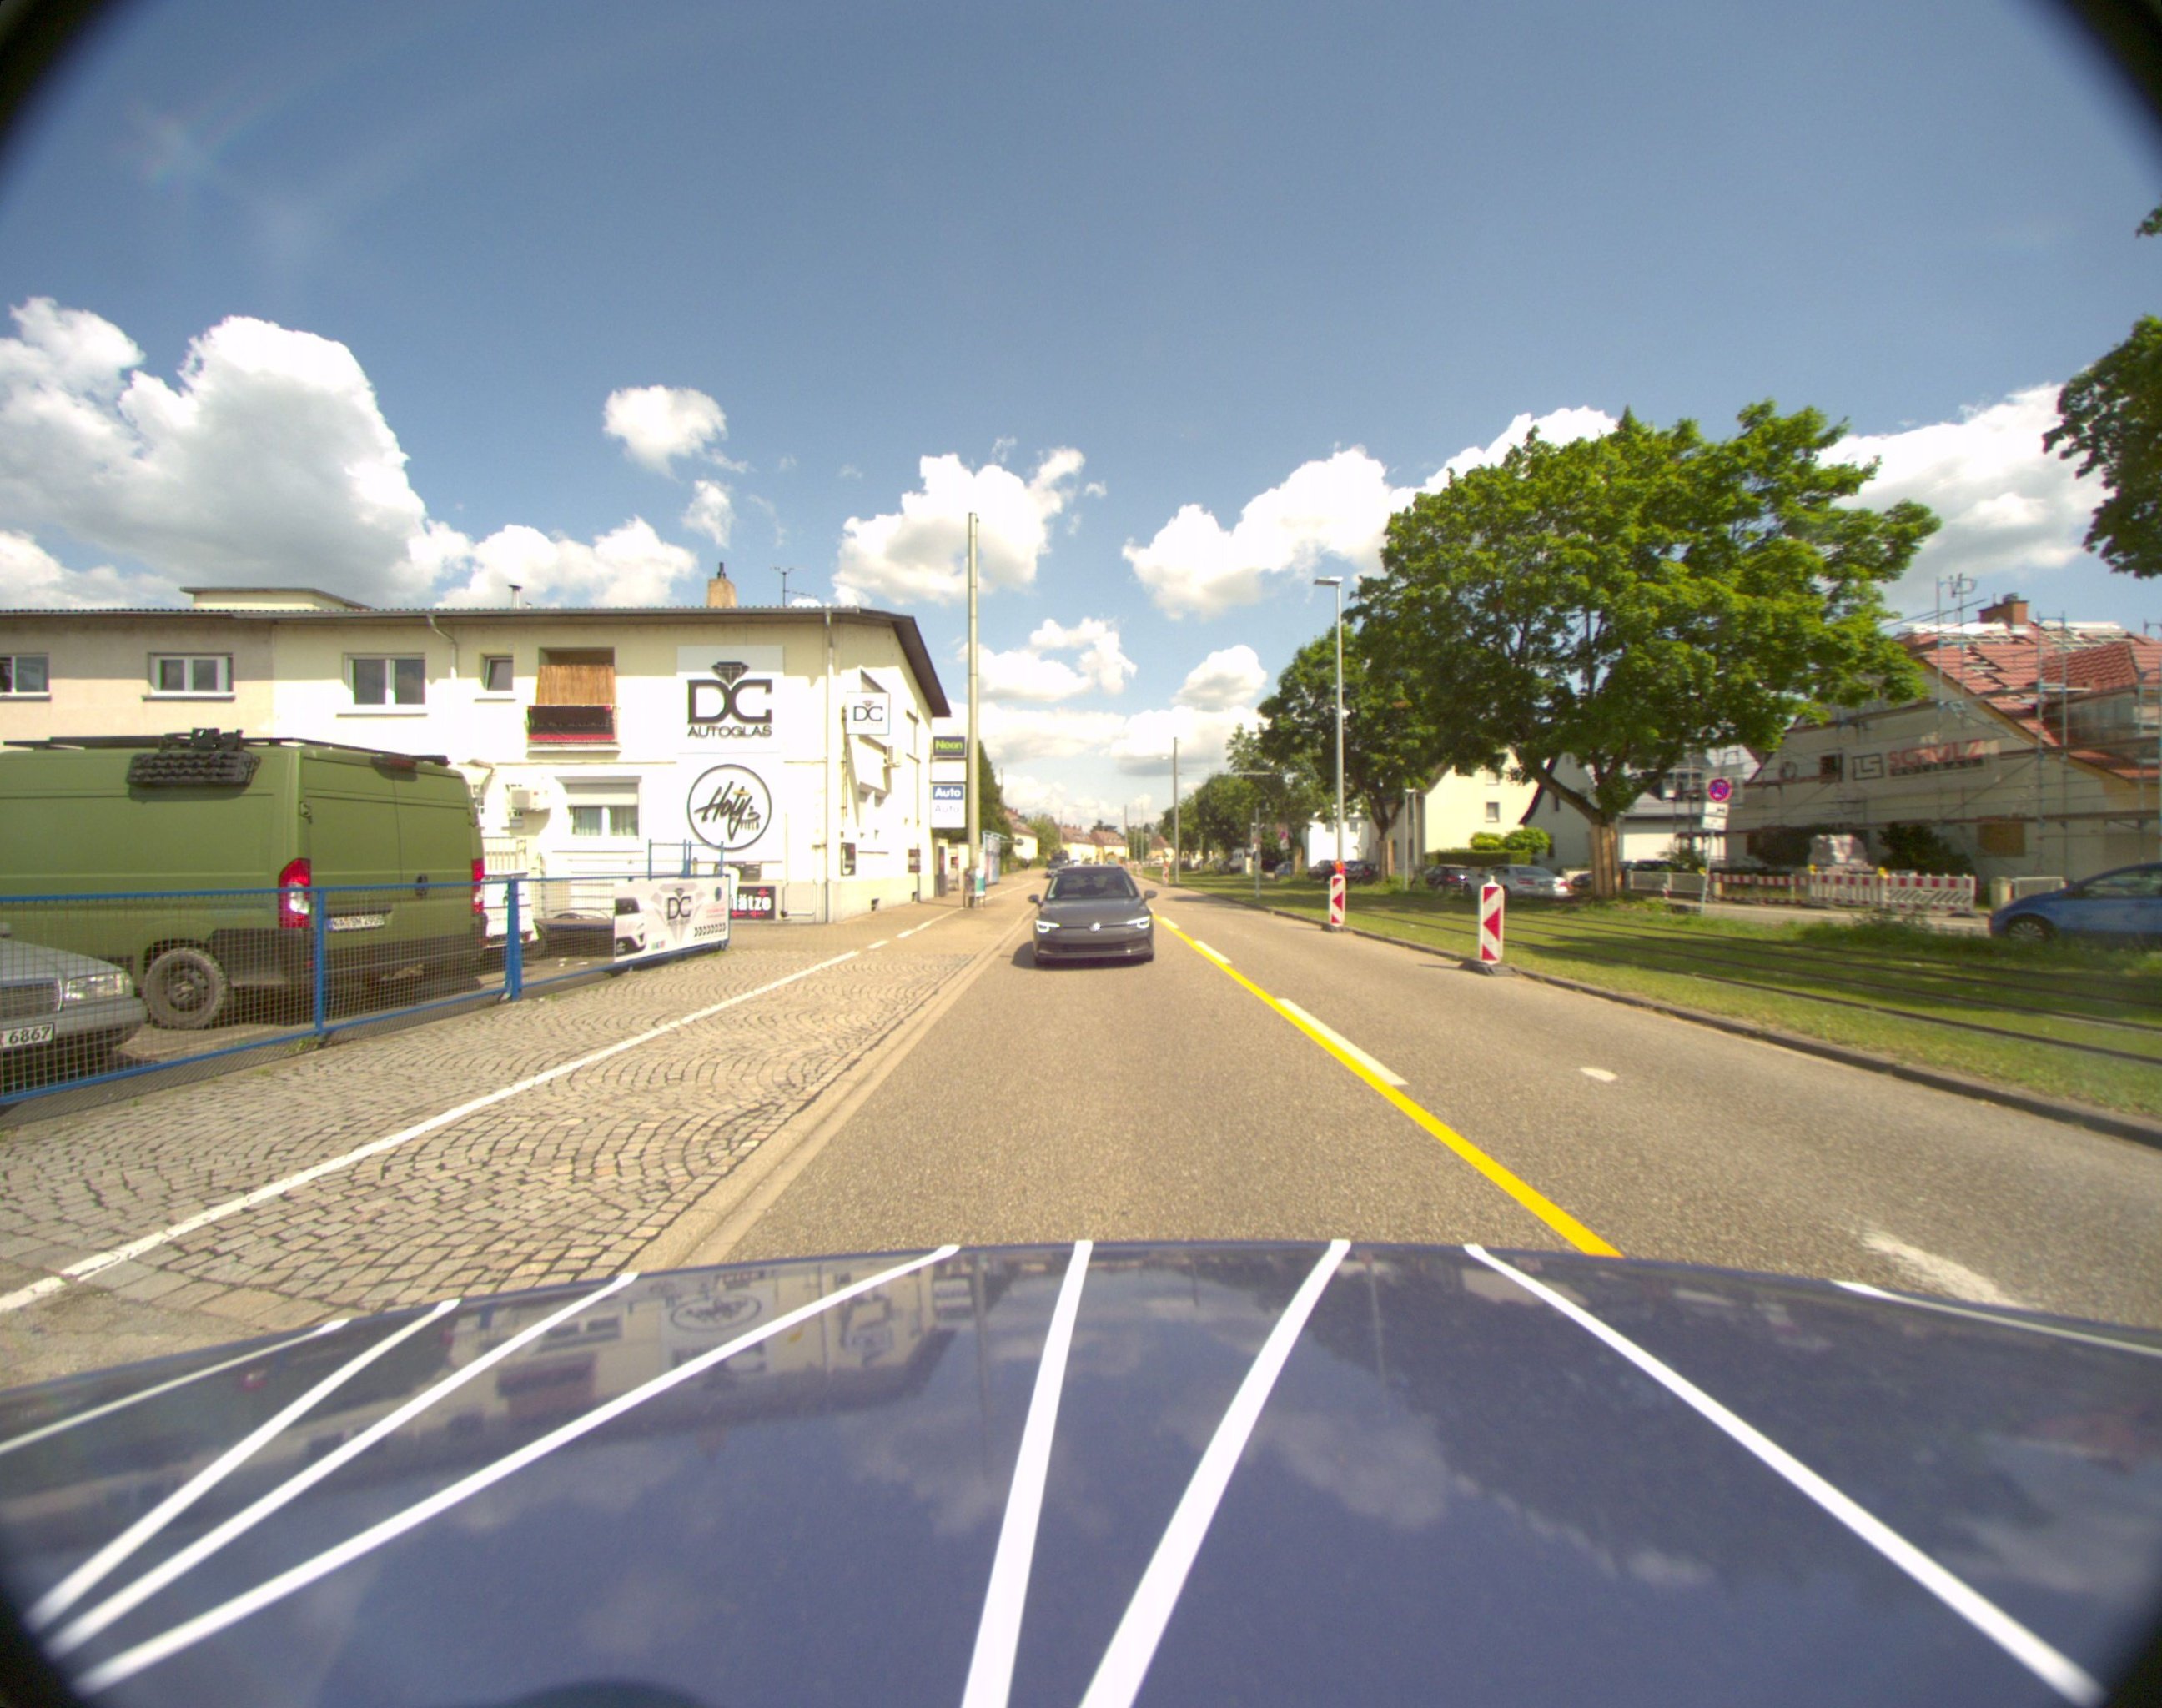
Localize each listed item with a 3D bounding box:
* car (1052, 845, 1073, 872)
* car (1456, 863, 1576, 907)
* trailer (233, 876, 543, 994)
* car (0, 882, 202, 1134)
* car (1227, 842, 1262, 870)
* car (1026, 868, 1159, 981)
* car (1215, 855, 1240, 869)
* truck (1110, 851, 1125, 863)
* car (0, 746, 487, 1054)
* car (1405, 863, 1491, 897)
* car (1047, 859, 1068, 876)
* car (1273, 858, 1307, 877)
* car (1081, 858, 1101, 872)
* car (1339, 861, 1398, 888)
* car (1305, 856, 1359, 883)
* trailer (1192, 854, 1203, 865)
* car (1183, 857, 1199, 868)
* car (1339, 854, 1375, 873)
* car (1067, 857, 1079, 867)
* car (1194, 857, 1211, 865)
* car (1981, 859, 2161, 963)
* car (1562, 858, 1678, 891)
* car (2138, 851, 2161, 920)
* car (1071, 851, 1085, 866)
[{"bbox_3d":[-1.924,0.487,81.704,2.001,2.744,4.878,1,0,1],"label":"car"},{"bbox_3d":[16.491,1.117,29.160,1.809,1.474,4.939,1,0,1],"label":"car"},{"bbox_3d":[-8.731,0.986,9.718,2.789,1.325,1.303,1,1,1],"label":"trailer"},{"bbox_3d":[-8.377,0.920,4.698,4.191,1.423,1.821,0,0,8],"label":"car"},{"bbox_3d":[16.807,0.186,78.418,1.999,2.714,6.462,1,0,-1],"label":"car"},{"bbox_3d":[0.127,1.011,12.572,1.786,1.412,4.289,-2,0,-1],"label":"car"},{"bbox_3d":[16.963,0.877,88.159,1.998,1.497,4.486,1,1,1],"label":"car"},{"bbox_3d":[9.668,0.739,200.858,2.529,2.931,7.869,1,1,13],"label":"truck"},{"bbox_3d":[-8.941,0.384,7.470,4.547,2.558,2.151,0,1,2],"label":"car"},{"bbox_3d":[16.554,1.152,34.500,1.998,1.310,3.852,2,1,0],"label":"car"},{"bbox_3d":[-2.184,1.246,71.013,1.655,1.423,4.096,1,1,2],"label":"car"},{"bbox_3d":[16.631,1.029,60.664,1.758,1.427,3.889,1,1,3],"label":"car"},{"bbox_3d":[1.148,1.193,83.079,1.998,1.566,4.001,0,0,3],"label":"car"},{"bbox_3d":[16.915,1.164,44.901,1.998,1.430,4.000,1,1,0],"label":"car"},{"bbox_3d":[16.704,1.012,50.750,1.999,1.681,4.390,0,1,-3],"label":"car"},{"bbox_3d":[17.195,0.810,112.428,1.302,1.510,2.281,1,0,-1],"label":"trailer"},{"bbox_3d":[17.761,1.371,122.709,1.910,1.568,4.102,3,-1,2],"label":"car"},{"bbox_3d":[25.413,0.854,70.099,1.907,1.568,4.000,1,1,1],"label":"car"},{"bbox_3d":[-1.233,1.318,122.852,1.756,1.480,4.628,1,0,1],"label":"car"},{"bbox_3d":[17.151,0.969,107.065,1.785,1.087,3.836,1,0,0],"label":"car"},{"bbox_3d":[16.365,0.831,10.950,1.999,1.444,3.999,0,1,-1],"label":"car"},{"bbox_3d":[25.063,0.922,35.422,3.997,1.393,1.982,-1,1,1],"label":"car"},{"bbox_3d":[28.204,0.797,17.998,3.656,1.674,1.873,1,1,0],"label":"car"},{"bbox_3d":[-0.487,0.818,136.196,1.923,2.522,5.346,1,0,5],"label":"car"}]
